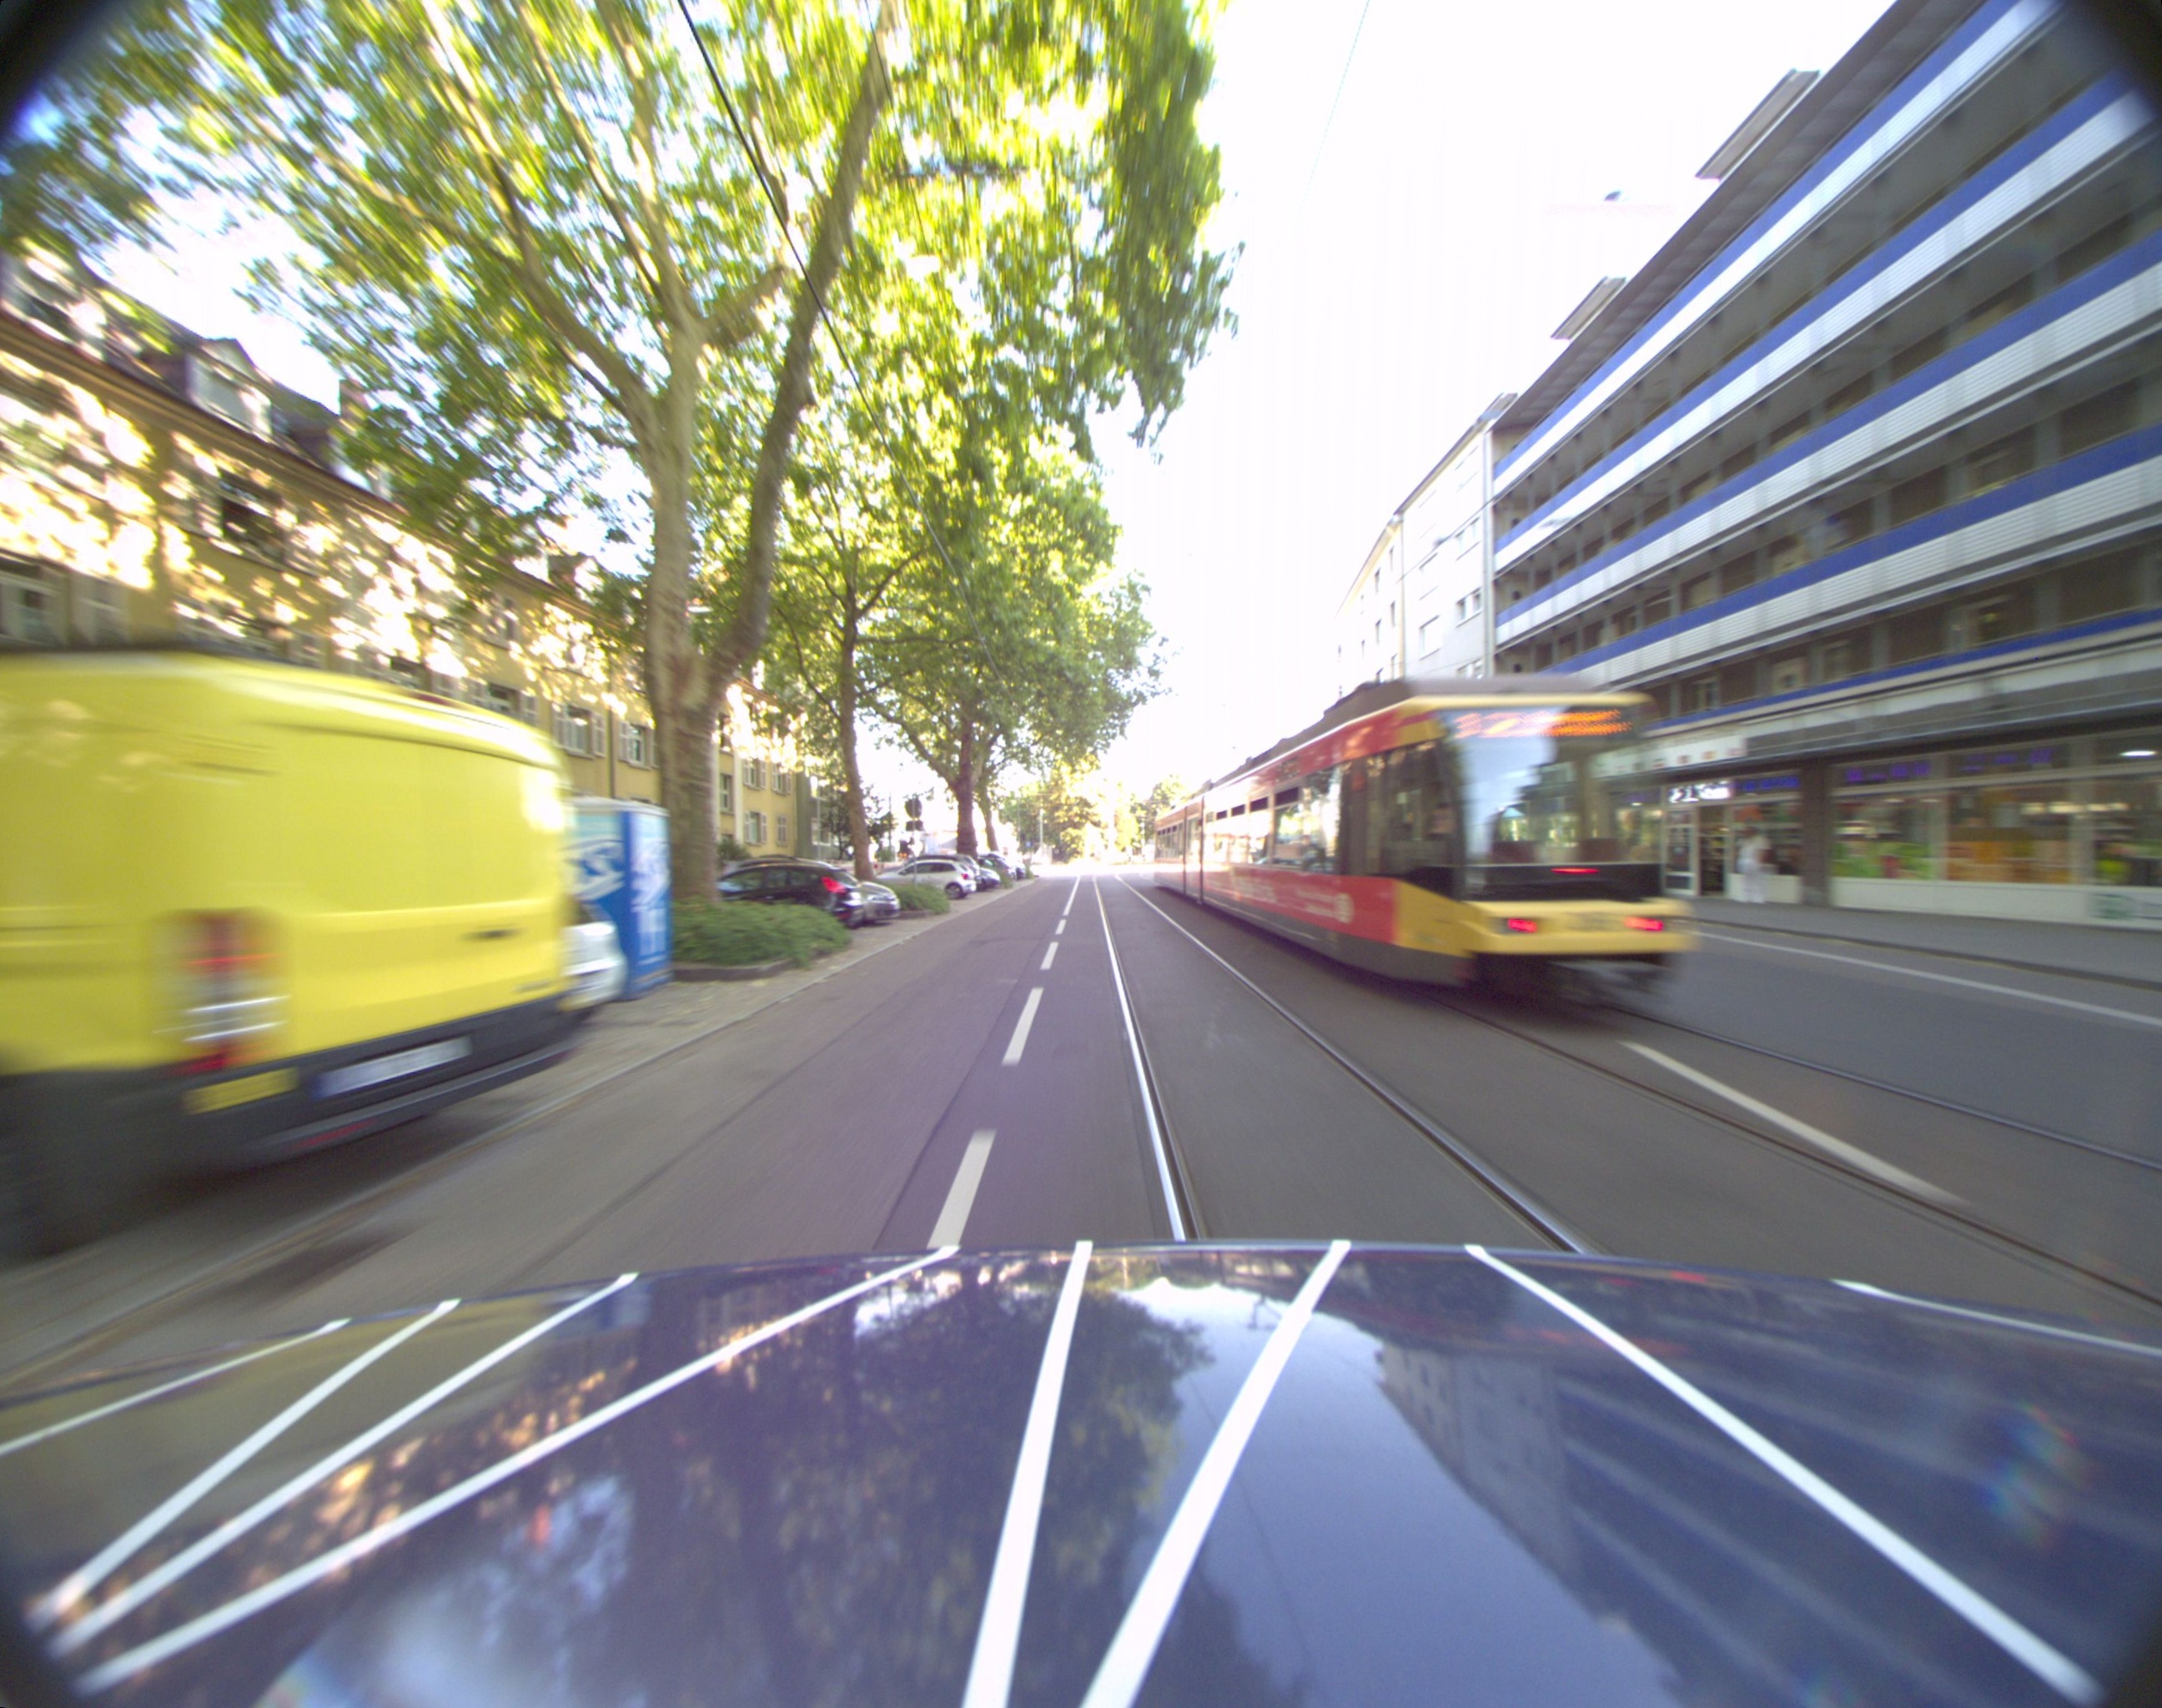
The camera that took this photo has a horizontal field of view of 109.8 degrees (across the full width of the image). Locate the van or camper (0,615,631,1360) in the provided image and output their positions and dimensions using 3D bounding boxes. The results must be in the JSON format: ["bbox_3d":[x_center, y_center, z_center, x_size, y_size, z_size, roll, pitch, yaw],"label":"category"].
[{"bbox_3d":[-5.983,0.490,3.921,5.939,2.615,2.270,-1,2,3],"label":"van or camper"}]

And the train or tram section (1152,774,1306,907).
[{"bbox_3d":[4.529,-0.423,26.776,2.916,3.466,13.368,-1,1,1],"label":"train or tram section"}]

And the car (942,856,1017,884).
[{"bbox_3d":[-5.441,0.839,41.155,3.891,1.488,1.741,0,1,-2],"label":"car"}]

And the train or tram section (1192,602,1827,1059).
[{"bbox_3d":[4.341,-0.245,12.946,2.916,3.466,14.196,-1,1,1],"label":"train or tram section"}]

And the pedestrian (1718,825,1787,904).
[{"bbox_3d":[15.340,0.230,17.377,0.789,1.703,0.820,-4,1,0],"label":"pedestrian"}]

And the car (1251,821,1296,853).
[{"bbox_3d":[11.738,-1.025,46.604,1.997,1.822,4.226,2,1,6],"label":"car"}]

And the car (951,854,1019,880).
[{"bbox_3d":[-5.811,0.774,46.374,3.884,1.596,1.795,0,0,0],"label":"car"}]

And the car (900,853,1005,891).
[{"bbox_3d":[-5.758,0.795,34.521,4.436,1.648,1.907,0,1,-1],"label":"car"}]

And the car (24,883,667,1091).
[{"bbox_3d":[-6.133,1.053,6.709,3.915,1.481,1.863,-1,1,3],"label":"car"}]

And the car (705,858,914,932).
[{"bbox_3d":[-6.070,0.893,17.335,4.087,1.541,1.830,0,1,0],"label":"car"}]

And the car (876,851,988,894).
[{"bbox_3d":[-6.258,0.769,32.201,4.318,1.721,1.841,0,0,4],"label":"car"}]

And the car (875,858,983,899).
[{"bbox_3d":[-5.739,0.921,29.028,3.660,1.416,1.865,1,0,2],"label":"car"}]

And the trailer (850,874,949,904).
[{"bbox_3d":[-6.278,1.200,26.433,3.046,0.898,1.437,1,1,7],"label":"trailer"}]

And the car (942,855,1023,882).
[{"bbox_3d":[-5.648,0.811,43.855,4.410,1.514,1.818,0,0,1],"label":"car"}]

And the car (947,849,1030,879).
[{"bbox_3d":[-5.901,0.616,48.945,5.126,1.845,1.914,1,2,0],"label":"car"}]

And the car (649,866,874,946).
[{"bbox_3d":[-6.086,0.972,14.824,3.663,1.418,1.737,0,1,-3],"label":"car"}]
